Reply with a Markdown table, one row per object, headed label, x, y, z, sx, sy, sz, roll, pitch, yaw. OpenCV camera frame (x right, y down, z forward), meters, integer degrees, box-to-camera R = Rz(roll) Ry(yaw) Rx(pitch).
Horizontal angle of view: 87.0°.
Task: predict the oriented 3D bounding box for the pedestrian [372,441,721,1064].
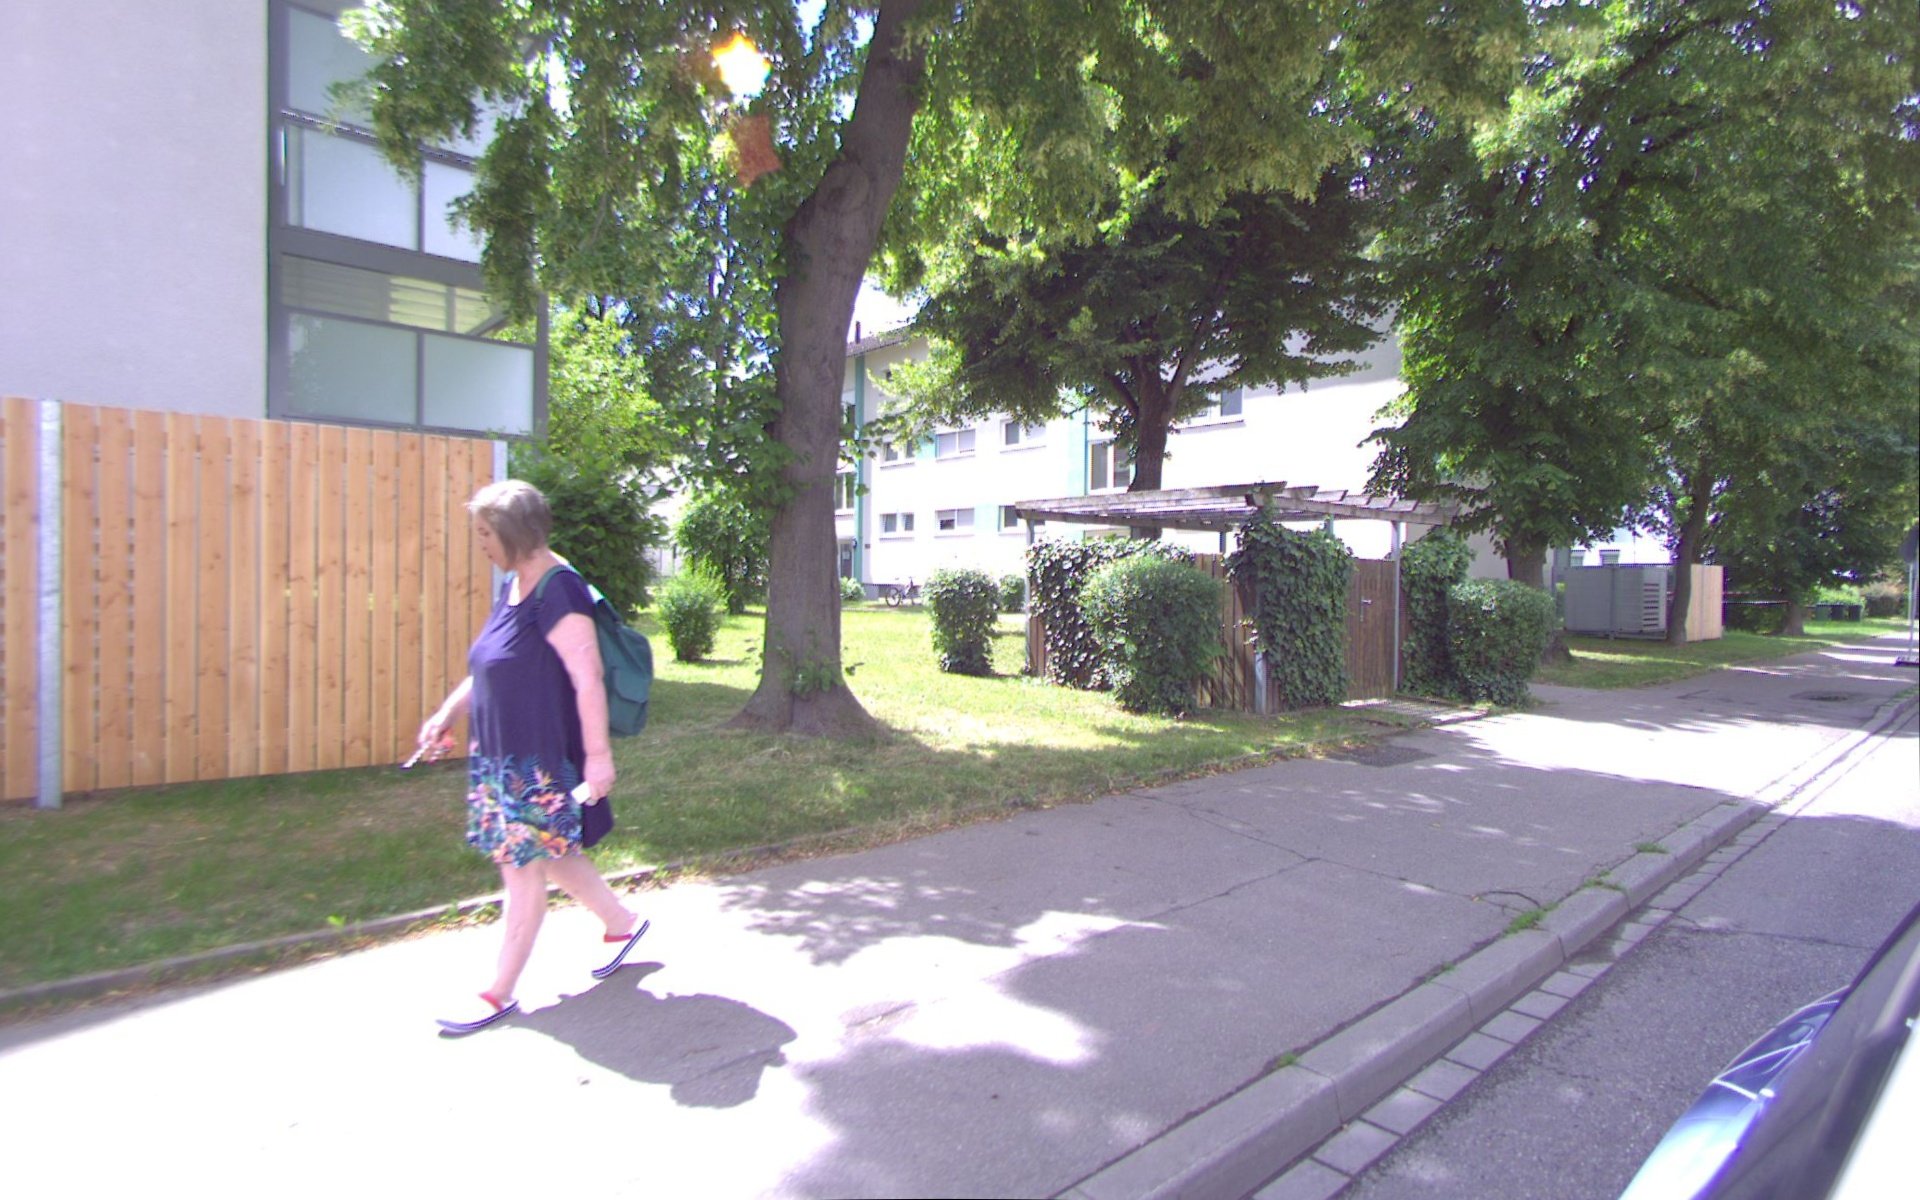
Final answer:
| label | x | y | z | sx | sy | sz | roll | pitch | yaw |
| --- | --- | --- | --- | --- | --- | --- | --- | --- | --- |
| pedestrian | -1.324 | 0.406 | 3.270 | 0.682 | 1.681 | 0.819 | 1 | 0 | 43 |
